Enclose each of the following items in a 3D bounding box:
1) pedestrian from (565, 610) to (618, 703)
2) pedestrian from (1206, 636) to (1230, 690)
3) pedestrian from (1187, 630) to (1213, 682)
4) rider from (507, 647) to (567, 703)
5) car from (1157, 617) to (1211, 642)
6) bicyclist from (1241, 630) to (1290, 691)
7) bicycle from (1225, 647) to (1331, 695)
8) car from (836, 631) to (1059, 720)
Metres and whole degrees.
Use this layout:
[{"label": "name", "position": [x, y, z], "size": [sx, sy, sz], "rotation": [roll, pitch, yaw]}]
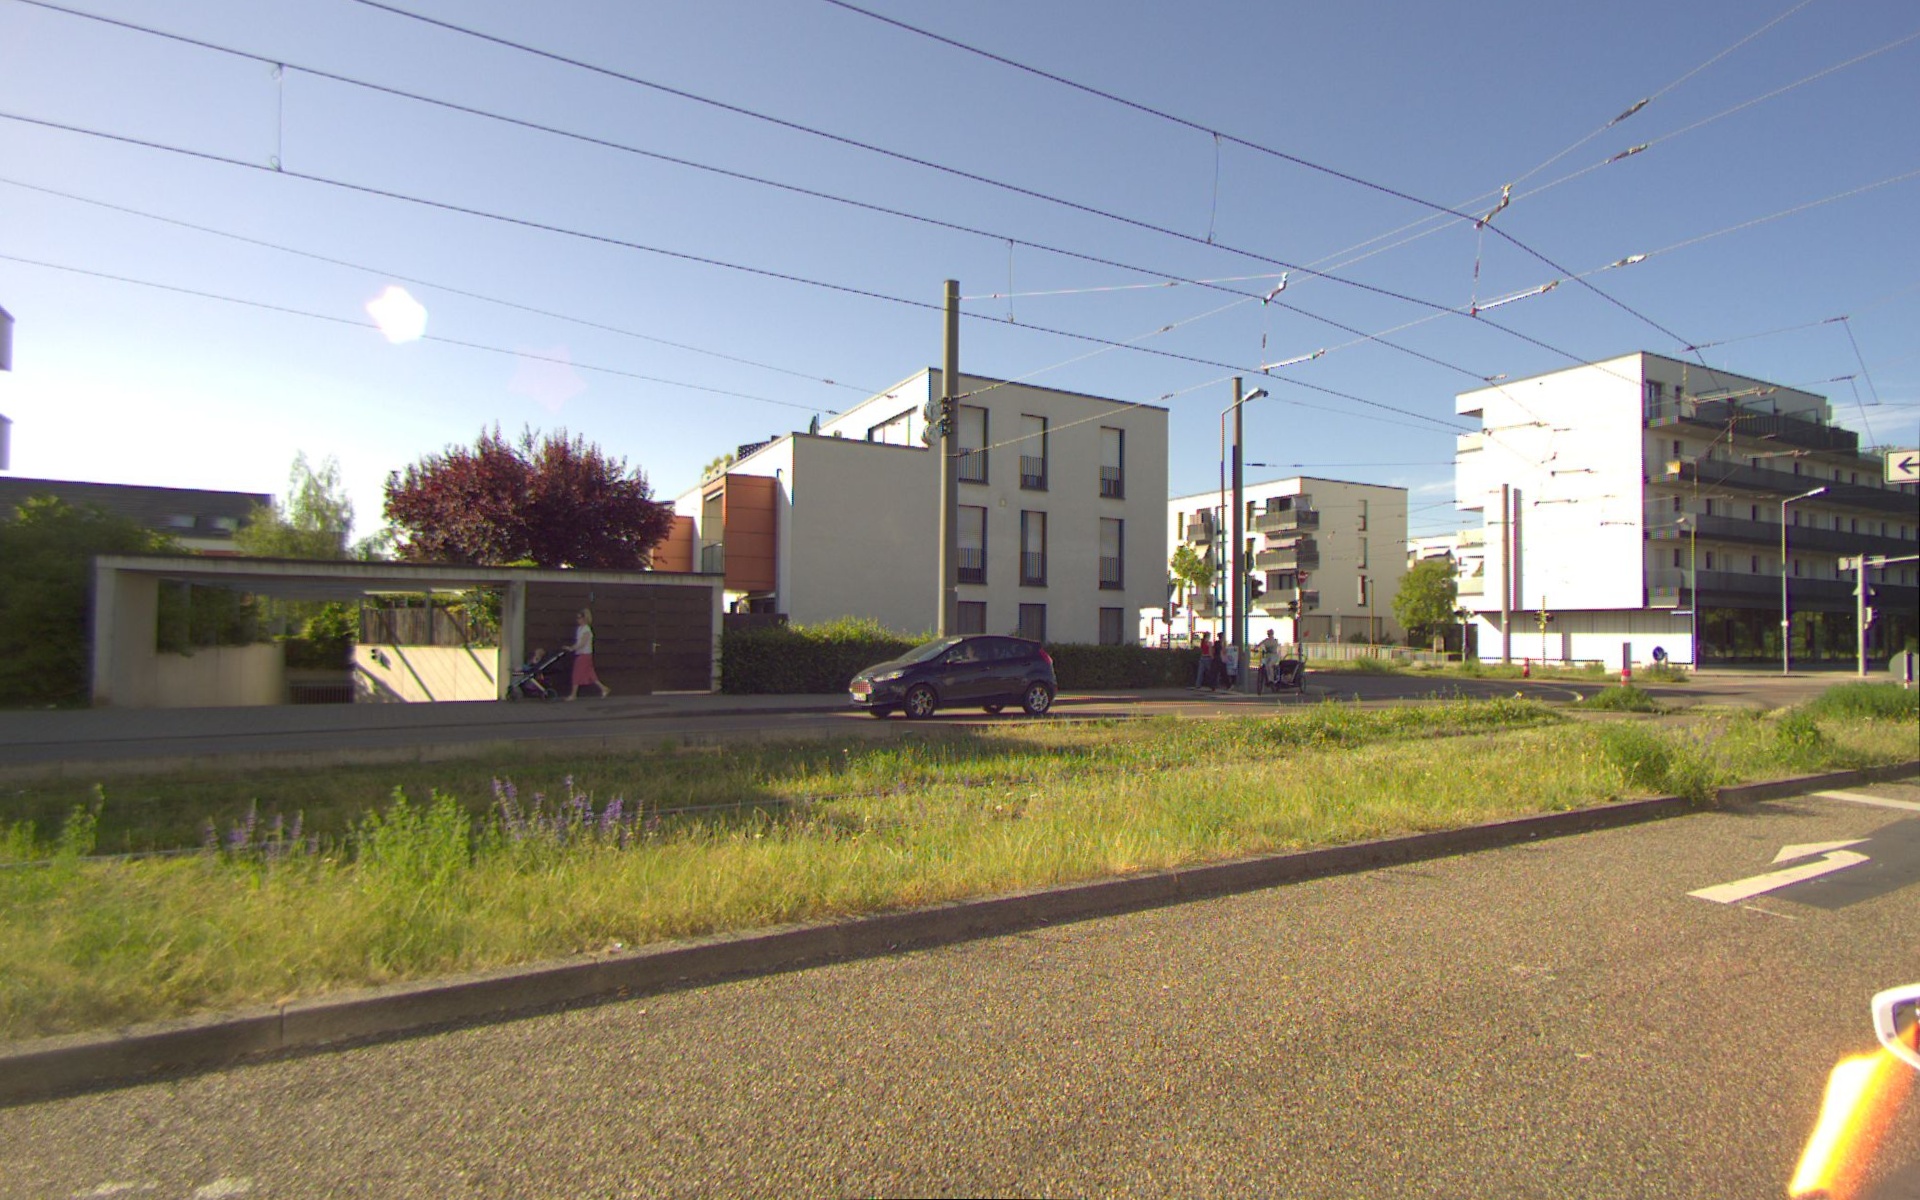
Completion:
[{"label": "pedestrian", "position": [-7.290, 1.099, 19.879], "size": [0.897, 1.771, 0.813], "rotation": [1, 0, -25]}, {"label": "pedestrian", "position": [7.347, 1.778, 28.590], "size": [0.548, 1.483, 0.611], "rotation": [1, 0, 23]}, {"label": "pedestrian", "position": [6.976, 1.613, 29.140], "size": [0.549, 1.483, 0.741], "rotation": [1, 0, 28]}, {"label": "rider", "position": [-8.193, 1.439, 19.451], "size": [1.031, 1.016, 0.775], "rotation": [1, 0, -25]}, {"label": "car", "position": [17.842, 2.364, 80.129], "size": [1.977, 1.862, 3.967], "rotation": [1, 0, -31]}, {"label": "bicyclist", "position": [8.599, 1.679, 28.264], "size": [0.904, 1.651, 0.965], "rotation": [1, 0, -37]}, {"label": "bicycle", "position": [9.116, 1.982, 28.663], "size": [3.662, 1.190, 0.988], "rotation": [1, 1, -39]}, {"label": "car", "position": [-0.200, 1.317, 18.152], "size": [3.699, 1.449, 1.694], "rotation": [1, -4, -33]}]
